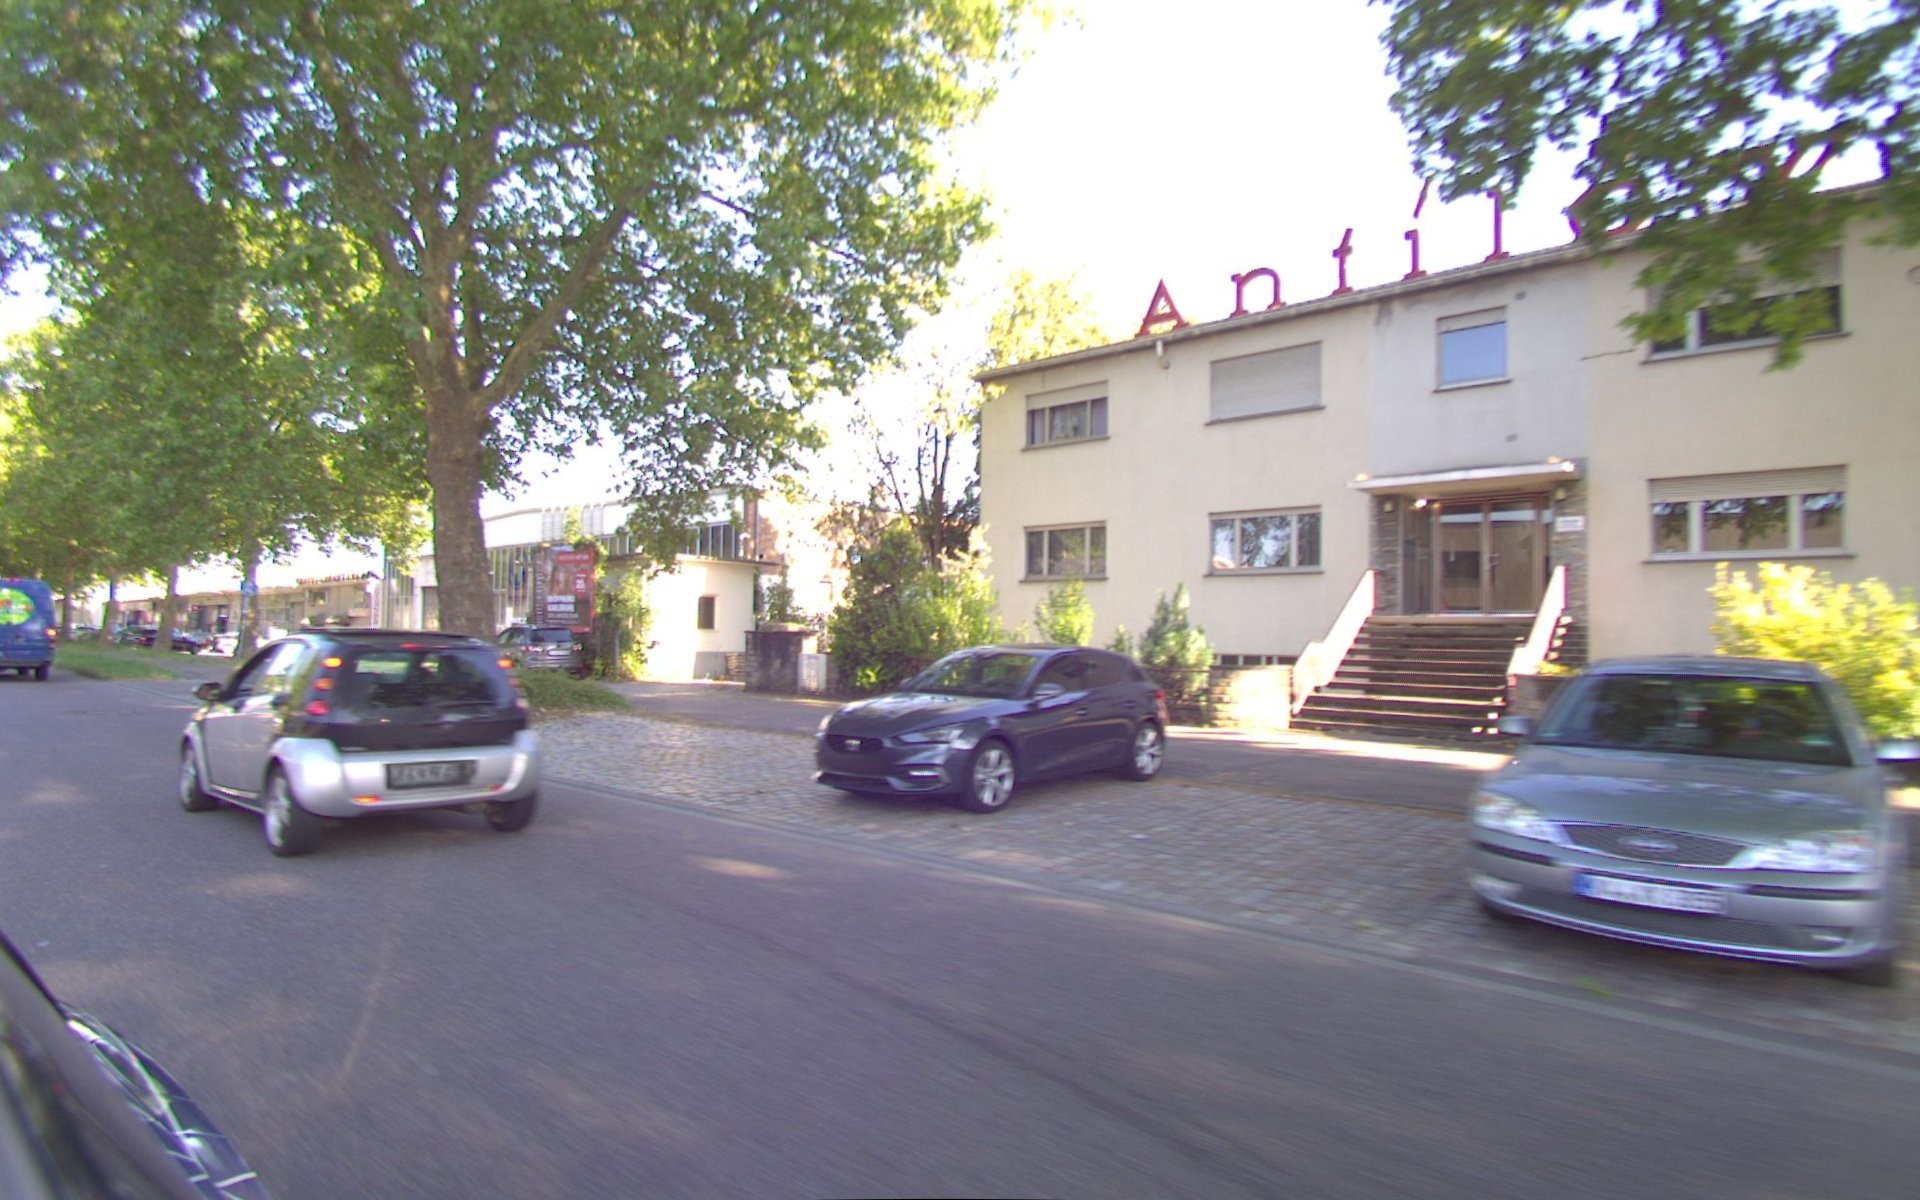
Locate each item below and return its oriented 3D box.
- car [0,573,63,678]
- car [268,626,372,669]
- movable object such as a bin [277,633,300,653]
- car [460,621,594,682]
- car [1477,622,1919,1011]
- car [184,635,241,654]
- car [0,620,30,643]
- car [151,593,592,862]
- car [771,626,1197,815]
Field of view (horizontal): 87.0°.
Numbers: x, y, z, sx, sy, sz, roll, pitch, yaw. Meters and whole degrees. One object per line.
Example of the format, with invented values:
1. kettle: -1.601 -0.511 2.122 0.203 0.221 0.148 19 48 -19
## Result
1. car: -26.947 0.744 28.163 6.999 2.680 2.105 -2 -4 42
2. car: -24.097 1.779 38.084 3.915 1.380 1.975 -1 -7 38
3. movable object such as a bin: -50.927 3.264 76.798 1.572 1.442 1.045 -1 -1 40
4. car: -12.301 1.386 28.653 4.274 1.588 1.971 -1 -1 44
5. car: 4.678 0.888 5.804 1.999 1.433 4.552 -2 -3 41
6. car: -59.794 3.559 81.013 3.244 1.417 1.712 0 -1 -10
7. car: -125.720 3.967 131.393 2.576 2.875 6.928 0 -6 13
8. car: -4.733 0.829 7.946 3.801 1.583 1.819 -1 -4 42
9. car: 0.457 1.006 10.001 1.998 1.433 4.310 -2 -3 39
